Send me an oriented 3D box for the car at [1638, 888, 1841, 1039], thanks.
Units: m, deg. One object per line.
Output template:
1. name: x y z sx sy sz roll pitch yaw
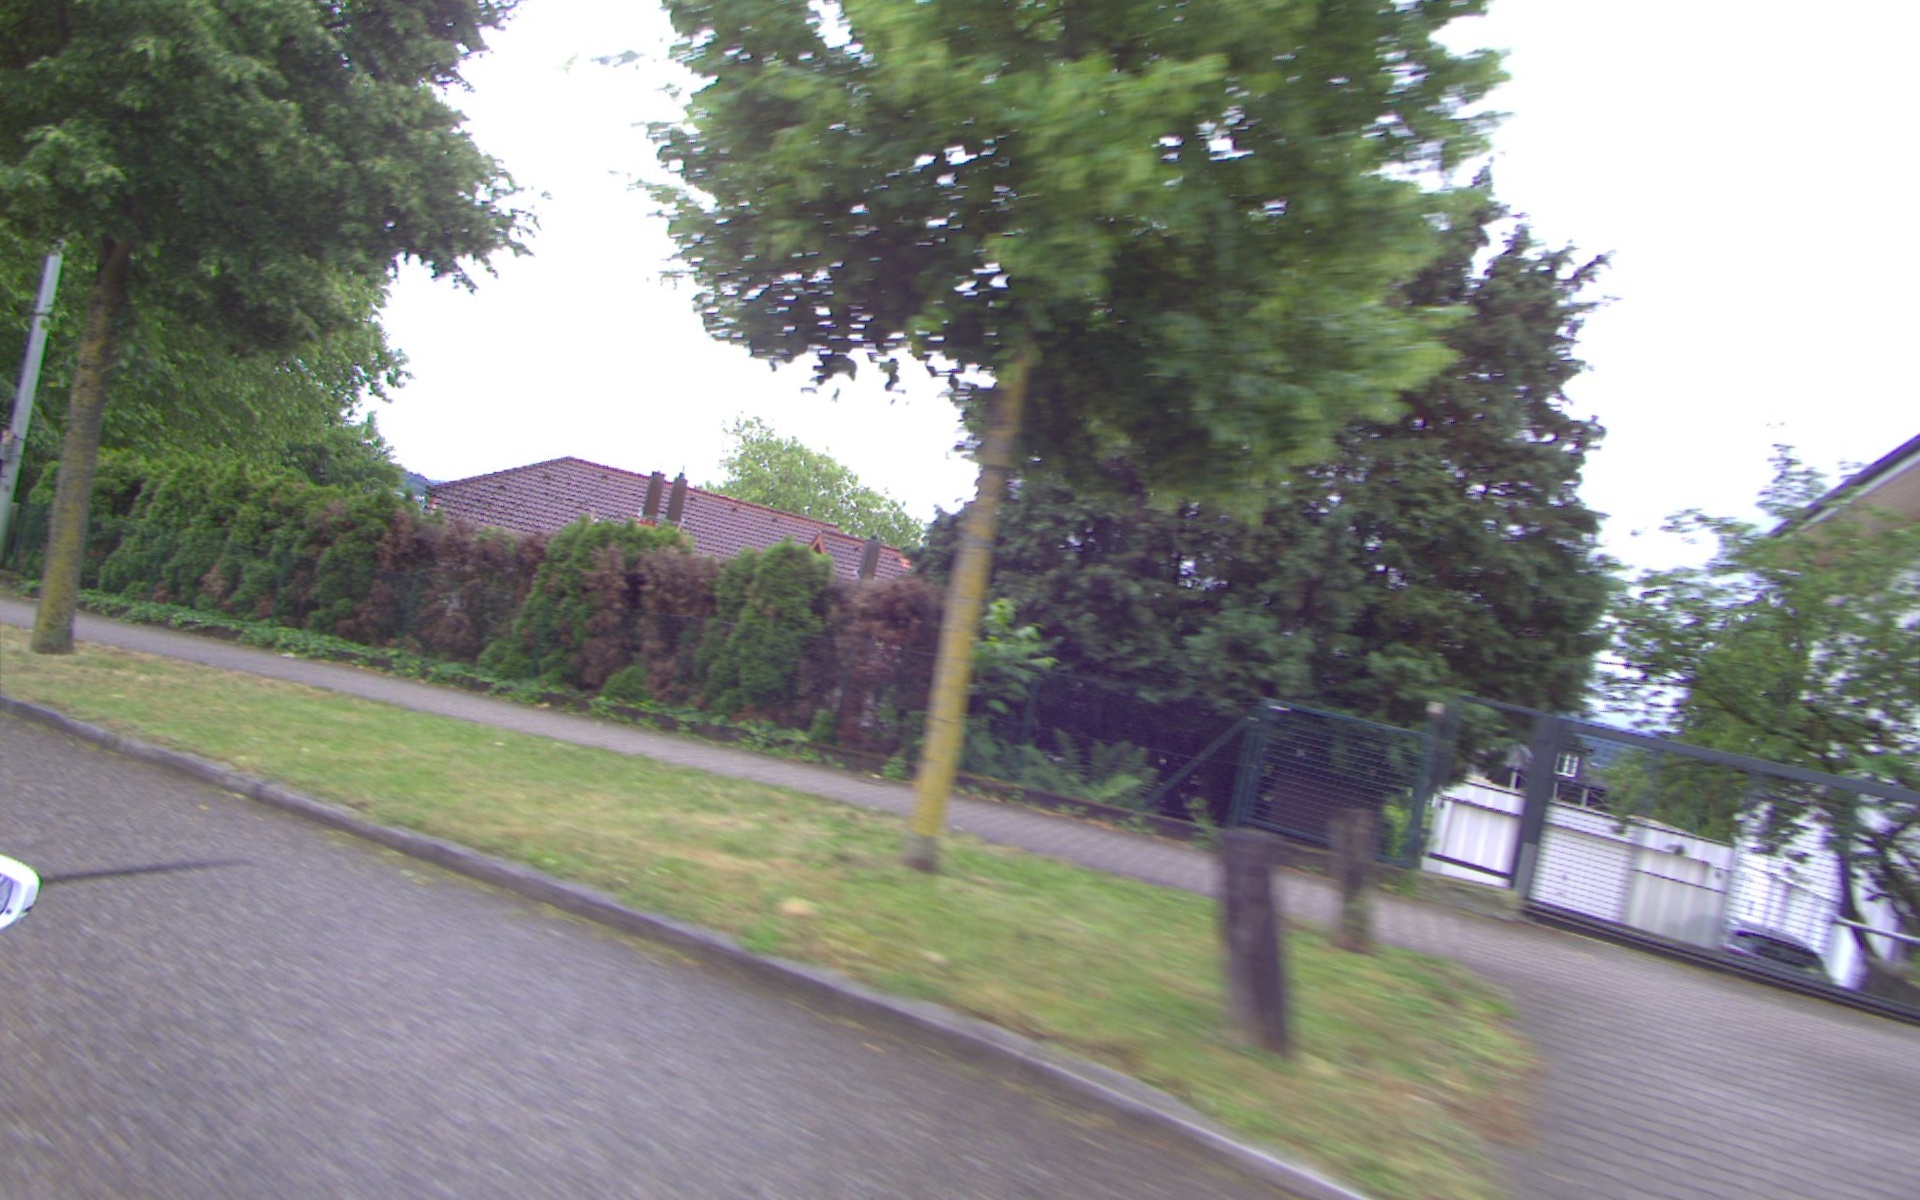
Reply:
1. car: 13.202 6.090 17.324 1.966 1.433 4.006 8 -6 29
